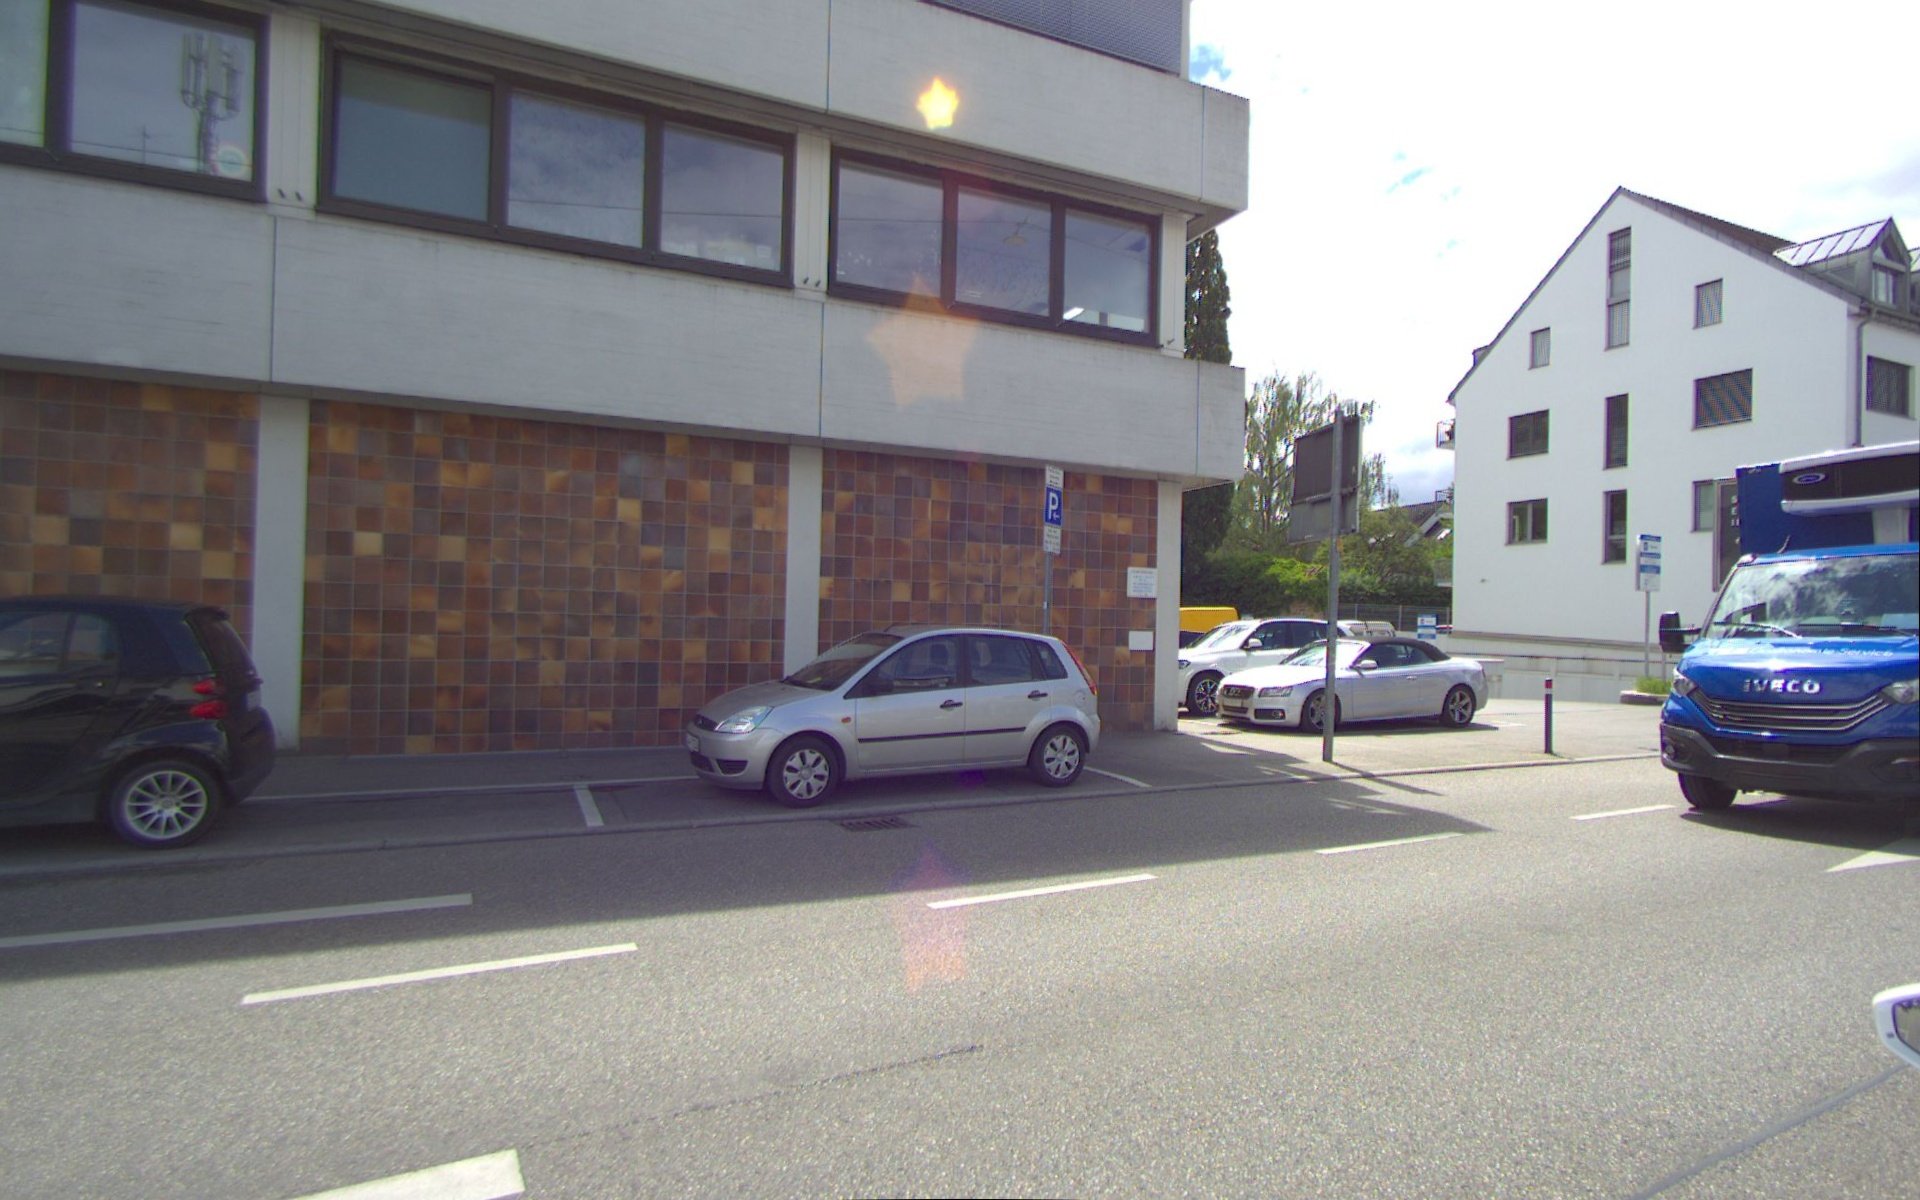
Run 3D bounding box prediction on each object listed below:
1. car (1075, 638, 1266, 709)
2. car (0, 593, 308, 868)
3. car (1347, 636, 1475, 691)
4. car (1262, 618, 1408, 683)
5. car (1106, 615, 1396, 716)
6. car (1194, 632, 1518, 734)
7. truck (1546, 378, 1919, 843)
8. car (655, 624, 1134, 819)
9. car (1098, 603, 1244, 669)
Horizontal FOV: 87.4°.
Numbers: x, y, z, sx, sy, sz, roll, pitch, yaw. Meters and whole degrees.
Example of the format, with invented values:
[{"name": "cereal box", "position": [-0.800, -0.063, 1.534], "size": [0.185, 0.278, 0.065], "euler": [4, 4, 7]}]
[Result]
[{"name": "car", "position": [4.359, 1.471, 20.793], "size": [3.557, 1.348, 1.757], "euler": [1, -2, -27]}, {"name": "car", "position": [-6.135, 0.746, 6.445], "size": [3.015, 1.576, 1.731], "euler": [1, 0, -25]}, {"name": "car", "position": [13.838, 1.905, 30.794], "size": [3.714, 1.549, 1.802], "euler": [2, -2, -31]}, {"name": "car", "position": [12.337, 1.651, 33.038], "size": [4.586, 2.015, 1.832], "euler": [1, -1, -25]}, {"name": "car", "position": [5.229, 1.149, 18.057], "size": [4.857, 1.640, 1.948], "euler": [1, -4, -22]}, {"name": "car", "position": [6.170, 1.214, 15.594], "size": [4.789, 1.376, 1.946], "euler": [1, -2, -25]}, {"name": "truck", "position": [9.431, 0.189, 9.723], "size": [7.990, 3.133, 2.842], "euler": [2, -2, -29]}, {"name": "car", "position": [-0.572, 0.983, 9.311], "size": [4.093, 1.441, 1.716], "euler": [1, 0, -26]}, {"name": "car", "position": [8.769, 1.527, 41.600], "size": [5.898, 2.563, 2.056], "euler": [1, -3, -26]}]
